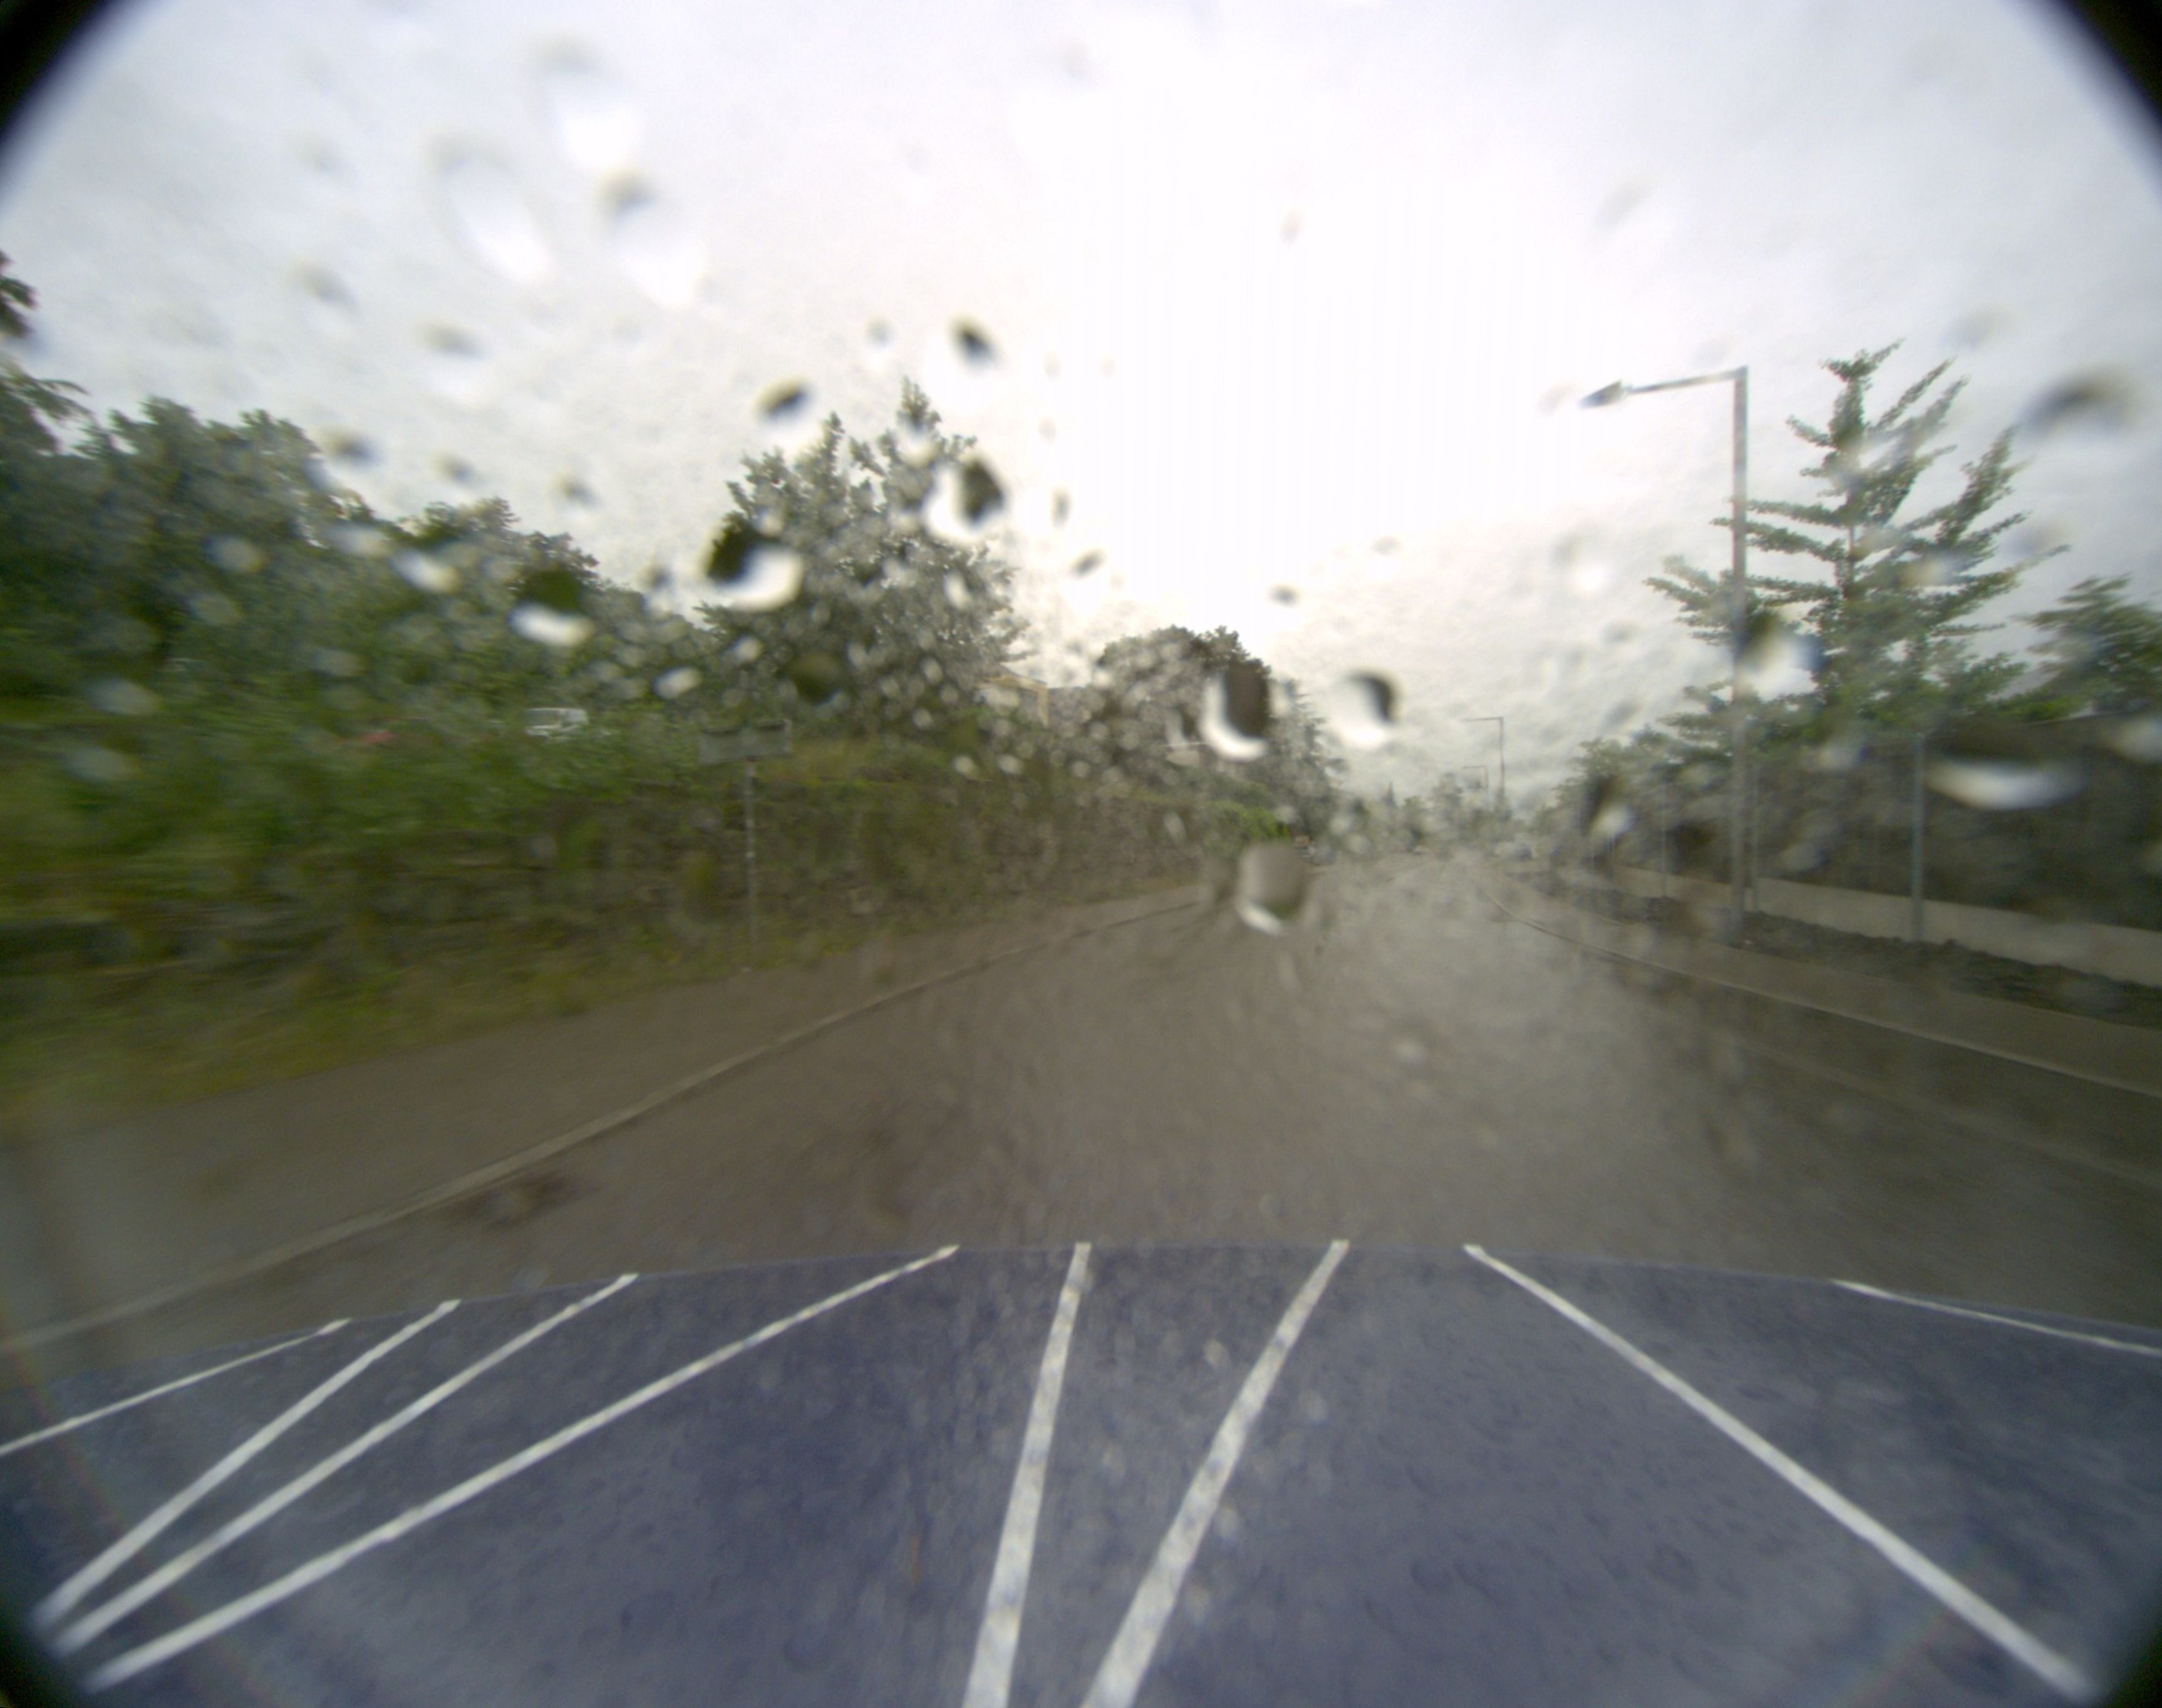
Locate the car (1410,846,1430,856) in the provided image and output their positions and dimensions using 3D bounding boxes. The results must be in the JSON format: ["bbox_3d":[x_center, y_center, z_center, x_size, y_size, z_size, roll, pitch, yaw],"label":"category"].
[{"bbox_3d":[53.727,-0.522,120.556,1.850,1.452,4.271,-2,0,9],"label":"car"}]

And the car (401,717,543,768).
[{"bbox_3d":[-19.272,-3.619,24.299,1.877,1.399,3.988,-1,11,-13],"label":"car"}]

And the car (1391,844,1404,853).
[{"bbox_3d":[59.008,-1.004,141.567,1.852,1.461,3.706,-2,0,28],"label":"car"}]

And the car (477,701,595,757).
[{"bbox_3d":[-20.957,-4.947,29.530,2.274,1.938,5.433,-3,12,-21],"label":"car"}]

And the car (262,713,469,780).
[{"bbox_3d":[-18.587,-2.913,20.061,1.876,1.504,3.989,0,11,-8],"label":"car"}]

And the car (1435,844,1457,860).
[{"bbox_3d":[36.472,-0.210,75.819,1.883,1.441,4.216,-1,1,27],"label":"car"}]

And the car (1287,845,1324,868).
[{"bbox_3d":[16.733,0.158,56.483,1.811,1.555,4.017,2,2,28],"label":"car"}]

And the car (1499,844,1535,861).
[{"bbox_3d":[37.384,-0.144,65.303,1.836,1.397,4.265,-2,0,18],"label":"car"}]

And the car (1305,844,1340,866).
[{"bbox_3d":[19.691,0.032,61.893,1.994,1.661,4.552,2,2,27],"label":"car"}]

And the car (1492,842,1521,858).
[{"bbox_3d":[43.999,-0.411,78.545,1.706,1.544,4.397,-2,1,42],"label":"car"}]

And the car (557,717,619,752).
[{"bbox_3d":[-22.567,-5.537,34.892,1.878,1.399,3.985,-4,12,-26],"label":"car"}]
